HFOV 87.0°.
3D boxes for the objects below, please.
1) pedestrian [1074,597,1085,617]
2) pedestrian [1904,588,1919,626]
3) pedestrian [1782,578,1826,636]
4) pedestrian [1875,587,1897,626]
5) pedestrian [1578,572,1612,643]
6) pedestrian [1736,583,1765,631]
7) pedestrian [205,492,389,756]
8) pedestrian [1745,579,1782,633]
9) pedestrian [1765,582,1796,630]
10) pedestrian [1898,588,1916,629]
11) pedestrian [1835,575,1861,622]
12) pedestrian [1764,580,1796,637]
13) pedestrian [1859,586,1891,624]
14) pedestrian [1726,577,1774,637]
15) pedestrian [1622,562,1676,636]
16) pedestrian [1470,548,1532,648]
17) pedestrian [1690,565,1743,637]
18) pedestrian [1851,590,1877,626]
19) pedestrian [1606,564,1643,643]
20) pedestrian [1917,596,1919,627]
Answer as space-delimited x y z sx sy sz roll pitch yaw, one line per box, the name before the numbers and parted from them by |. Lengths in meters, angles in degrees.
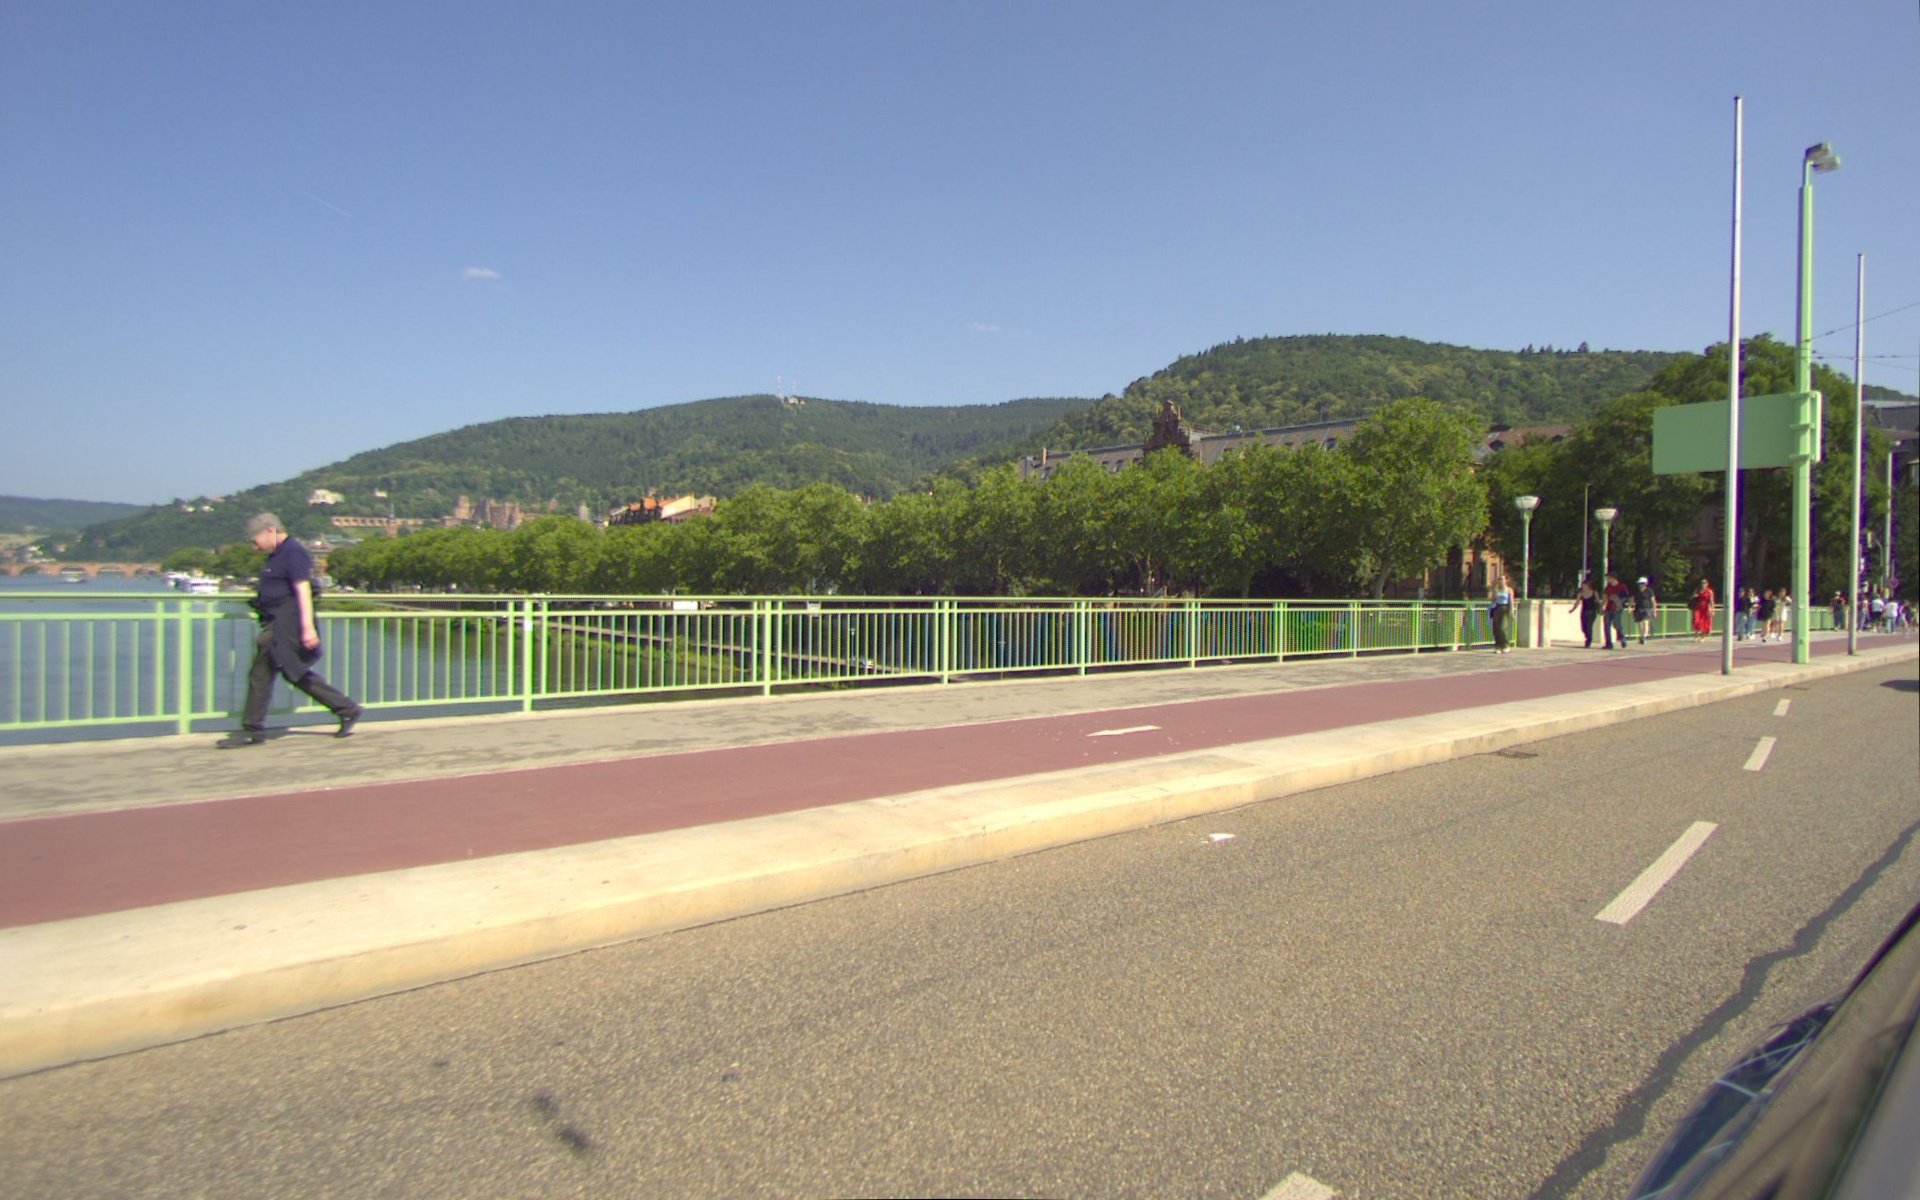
pedestrian | 10.827 0.603 91.617 0.740 1.798 0.666 0 -1 45
pedestrian | 47.170 0.330 49.929 0.632 1.879 0.776 1 0 -37
pedestrian | 26.440 0.207 31.707 0.985 1.772 0.915 1 1 45
pedestrian | 41.643 0.296 45.495 0.696 1.738 0.720 1 1 45
pedestrian | 15.163 0.167 24.163 0.523 1.670 0.688 1 1 44
pedestrian | 27.477 0.230 35.177 0.679 1.652 0.651 1 -1 -39
pedestrian | -4.810 0.163 7.359 0.655 1.766 0.962 1 -1 45
pedestrian | 25.675 0.187 32.344 0.834 1.698 0.871 1 1 44
pedestrian | 28.083 0.204 34.641 0.679 1.582 0.651 2 1 -39
pedestrian | 42.312 0.380 45.198 0.549 1.821 0.635 1 1 44
pedestrian | 39.358 -0.067 44.846 0.803 2.039 0.939 1 1 44
pedestrian | 24.511 0.235 30.243 0.654 1.670 0.854 1 1 44
pedestrian | 40.074 0.213 44.305 0.985 1.635 0.907 1 1 45
pedestrian | 24.208 0.198 31.018 0.985 1.791 1.234 3 2 44
pedestrian | 18.344 -0.047 26.932 0.985 1.918 1.234 1 1 44
pedestrian | 11.356 -0.060 21.226 0.874 2.039 1.042 1 1 44
pedestrian | 21.240 0.000 28.427 0.923 1.978 1.017 0 1 -42
pedestrian | 42.624 0.377 47.722 0.934 1.655 0.800 0 1 -44
pedestrian | 15.544 0.073 23.679 0.622 1.816 0.585 0 1 -45
pedestrian | 64.658 0.769 67.776 1.042 2.038 0.775 0 1 -45
